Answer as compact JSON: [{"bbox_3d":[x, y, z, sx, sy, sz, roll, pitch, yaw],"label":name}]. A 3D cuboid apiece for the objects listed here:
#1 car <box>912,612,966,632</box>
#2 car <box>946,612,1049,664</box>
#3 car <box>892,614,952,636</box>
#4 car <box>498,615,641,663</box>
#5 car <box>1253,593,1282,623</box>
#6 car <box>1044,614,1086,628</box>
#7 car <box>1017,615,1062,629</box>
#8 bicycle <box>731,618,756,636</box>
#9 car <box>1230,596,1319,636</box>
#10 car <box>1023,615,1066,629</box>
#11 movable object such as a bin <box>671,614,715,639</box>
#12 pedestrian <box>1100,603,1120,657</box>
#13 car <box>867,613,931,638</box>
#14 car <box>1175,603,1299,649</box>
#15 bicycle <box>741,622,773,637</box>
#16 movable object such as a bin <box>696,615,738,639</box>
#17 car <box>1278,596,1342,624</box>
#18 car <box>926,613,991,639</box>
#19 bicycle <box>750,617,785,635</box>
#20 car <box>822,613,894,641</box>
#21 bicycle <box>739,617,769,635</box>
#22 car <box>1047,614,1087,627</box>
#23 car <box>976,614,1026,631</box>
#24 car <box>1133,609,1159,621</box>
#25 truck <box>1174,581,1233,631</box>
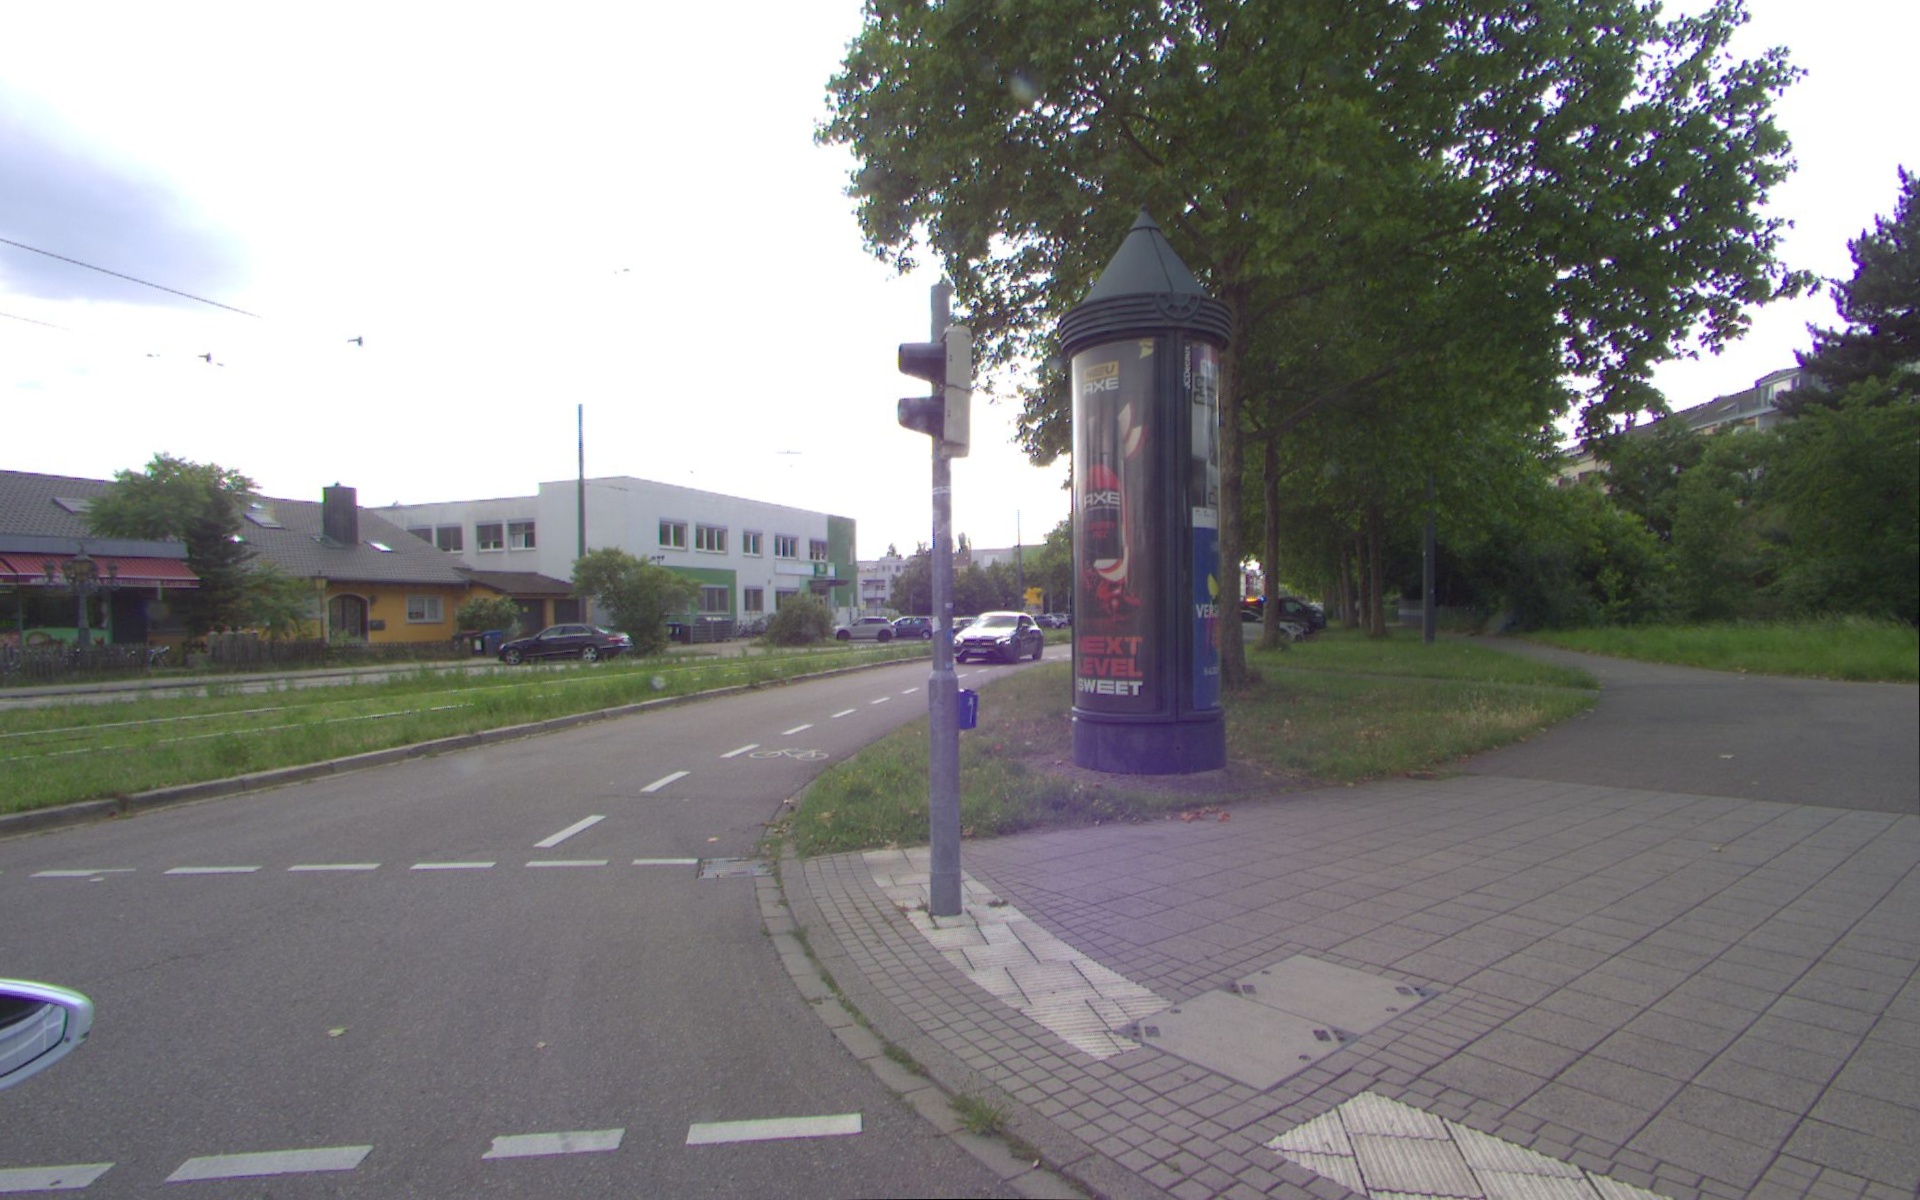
[{"bbox_3d":[-1.599,1.680,76.690,4.089,1.523,1.861,0,0,-1],"label":"car"},{"bbox_3d":[1.205,1.060,29.645,1.808,1.411,4.598,0,-1,19],"label":"car"},{"bbox_3d":[-2.717,1.778,70.621,4.090,1.523,1.860,0,0,-7],"label":"car"},{"bbox_3d":[-14.511,1.439,37.378,4.490,1.601,2.000,-2,0,1],"label":"car"},{"bbox_3d":[35.417,0.950,115.185,2.922,3.374,7.446,1,-1,19],"label":"car"},{"bbox_3d":[11.034,2.189,105.589,4.231,1.381,1.902,-1,0,-1],"label":"car"},{"bbox_3d":[7.890,2.198,99.813,4.231,1.381,1.902,-1,0,-1],"label":"car"},{"bbox_3d":[-14.114,1.749,65.196,1.601,1.181,0.701,-1,0,38],"label":"bicycle"},{"bbox_3d":[17.102,0.893,54.504,4.479,2.040,1.995,-1,-1,22],"label":"car"},{"bbox_3d":[8.588,2.244,102.313,4.231,1.381,1.902,-1,0,-1],"label":"car"},{"bbox_3d":[-14.858,1.497,55.819,1.354,1.344,2.110,-1,0,24],"label":"movable object such as a bin"},{"bbox_3d":[4.815,0.961,32.129,0.577,1.706,0.493,0,0,19],"label":"pedestrian"},{"bbox_3d":[-4.159,1.692,67.862,4.232,1.650,1.901,0,0,-7],"label":"car"},{"bbox_3d":[10.600,1.013,38.263,4.463,1.665,1.997,-1,-2,19],"label":"car"},{"bbox_3d":[-13.509,1.949,66.605,2.124,0.983,0.728,-1,0,25],"label":"bicycle"},{"bbox_3d":[-14.028,1.540,57.840,1.354,1.344,2.125,-1,0,24],"label":"movable object such as a bin"},{"bbox_3d":[44.072,1.272,126.270,7.322,3.374,2.972,1,0,16],"label":"car"},{"bbox_3d":[-0.050,1.670,65.673,1.881,1.650,4.278,0,-1,43],"label":"car"},{"bbox_3d":[-12.978,1.770,67.372,2.314,1.181,0.758,-1,0,27],"label":"bicycle"},{"bbox_3d":[-6.343,1.675,62.213,4.235,1.650,1.900,-1,0,-12],"label":"car"},{"bbox_3d":[-13.111,1.660,63.765,1.765,1.096,0.735,-1,0,19],"label":"bicycle"},{"bbox_3d":[11.763,2.261,110.224,4.231,1.381,1.902,-1,0,-1],"label":"car"},{"bbox_3d":[3.529,1.943,86.941,4.231,1.381,1.902,-1,0,-3],"label":"car"},{"bbox_3d":[31.580,2.544,169.797,3.925,1.862,1.820,1,0,-11],"label":"car"},{"bbox_3d":[17.840,0.457,73.064,3.139,3.361,7.505,-1,-1,22],"label":"truck"}]
